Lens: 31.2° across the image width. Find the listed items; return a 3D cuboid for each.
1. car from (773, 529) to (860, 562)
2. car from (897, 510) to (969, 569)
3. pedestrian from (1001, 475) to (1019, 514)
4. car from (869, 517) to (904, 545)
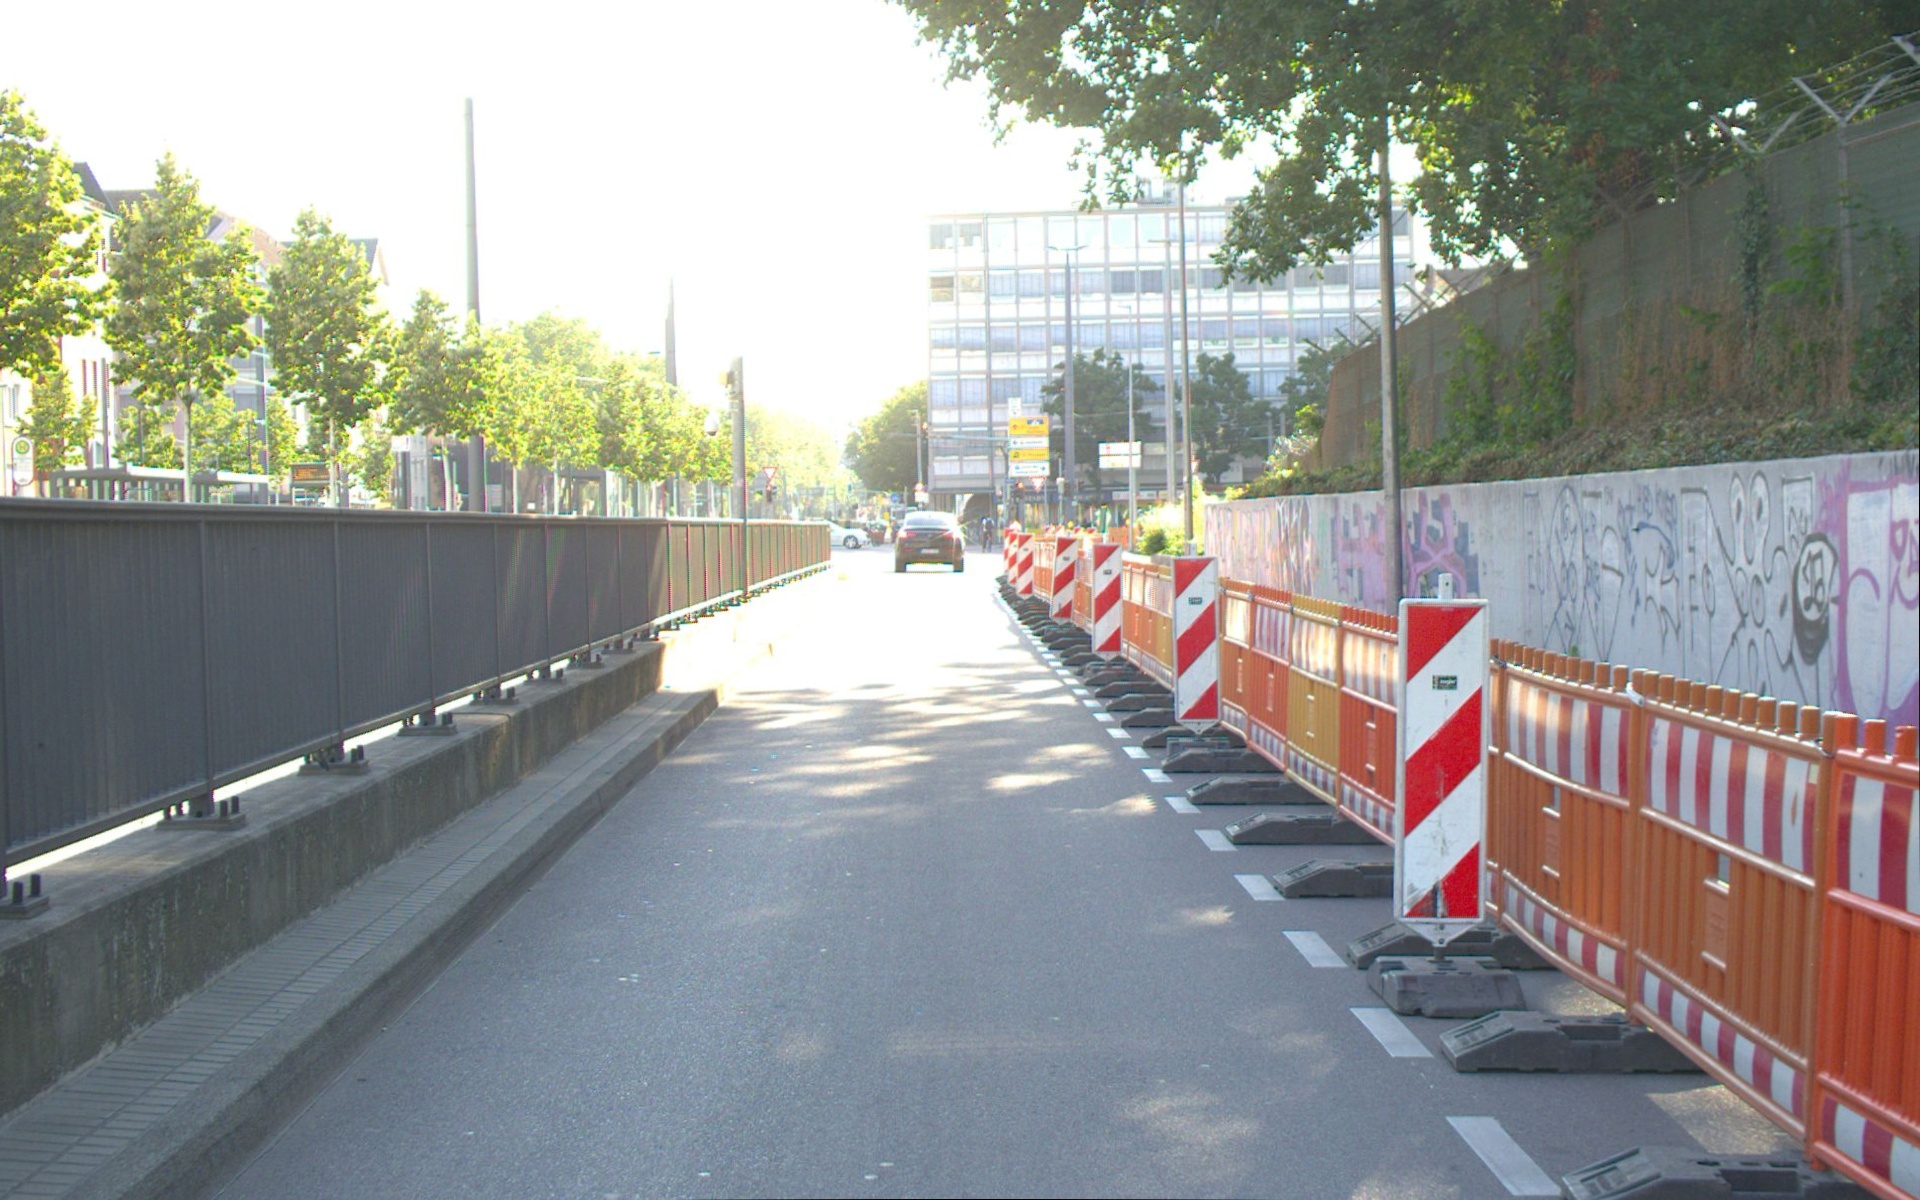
[{"bbox_3d":[-7.163,-2.711,171.387,3.988,1.634,1.999,1,0,10],"label":"car"},{"bbox_3d":[-0.762,-1.759,100.075,2.005,1.653,4.000,1,1,0],"label":"car"},{"bbox_3d":[2.717,-5.763,187.732,0.891,2.105,0.718,0,2,5],"label":"pedestrian"},{"bbox_3d":[-4.253,-3.989,199.024,1.993,1.612,4.001,0,1,-2],"label":"car"}]
